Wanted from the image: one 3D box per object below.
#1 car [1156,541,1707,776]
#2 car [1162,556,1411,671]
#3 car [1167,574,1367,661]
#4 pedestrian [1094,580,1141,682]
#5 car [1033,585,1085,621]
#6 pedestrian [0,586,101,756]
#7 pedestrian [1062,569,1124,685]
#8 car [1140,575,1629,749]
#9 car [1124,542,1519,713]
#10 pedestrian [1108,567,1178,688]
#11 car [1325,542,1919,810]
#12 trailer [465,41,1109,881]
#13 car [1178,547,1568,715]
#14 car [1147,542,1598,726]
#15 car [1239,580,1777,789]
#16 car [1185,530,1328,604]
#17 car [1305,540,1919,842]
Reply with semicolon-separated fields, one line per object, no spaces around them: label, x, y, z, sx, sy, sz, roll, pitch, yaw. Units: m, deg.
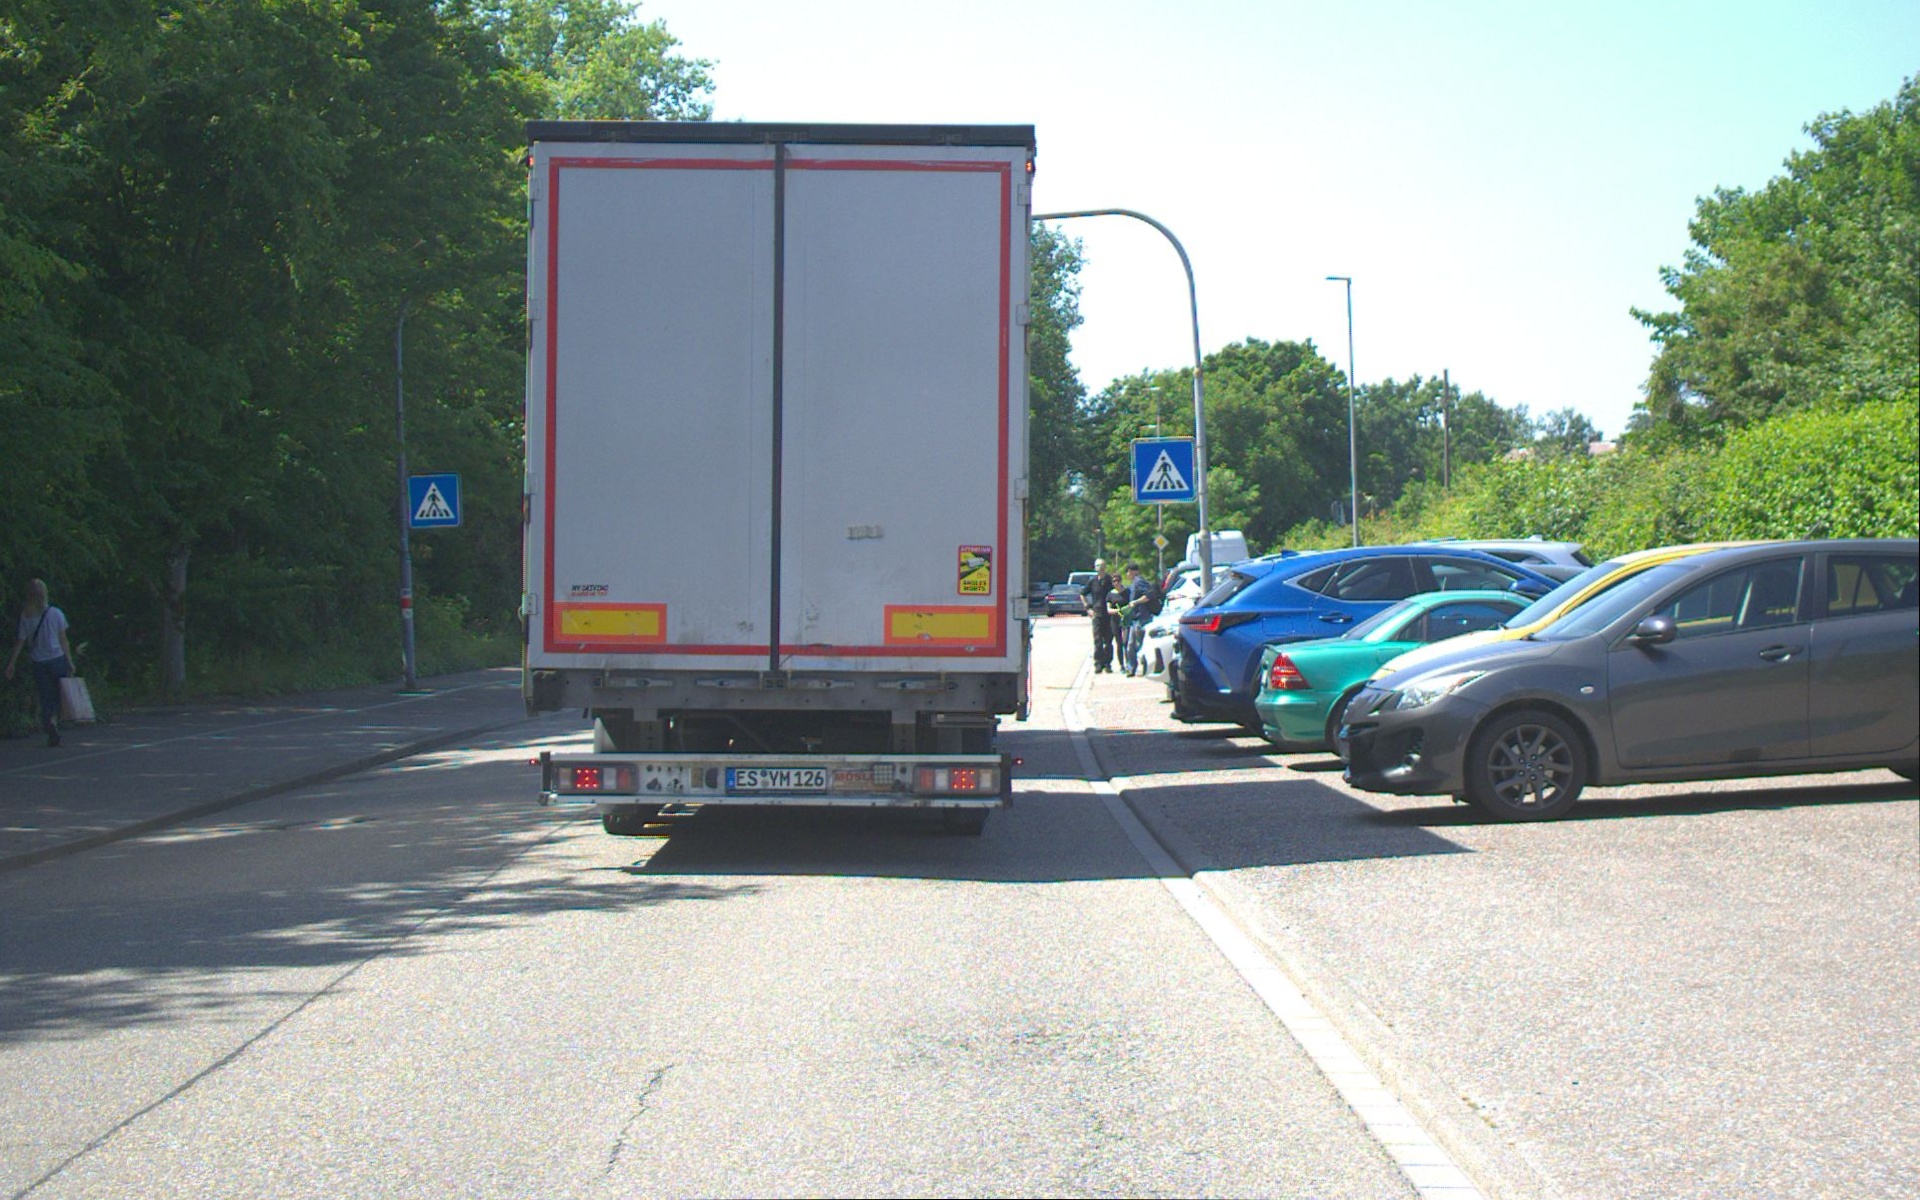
car;3.860;0.463;28.658;4.238;1.628;1.823;-4;0;-1
car;5.707;0.220;60.345;3.955;1.662;1.814;-4;3;-6
car;6.491;0.359;72.998;3.956;1.613;1.814;-3;0;-2
pedestrian;2.547;0.496;55.662;0.589;1.609;0.744;-5;0;6
car;4.304;0.134;149.273;1.781;1.481;3.999;-1;1;8
pedestrian;-8.857;0.680;33.419;0.828;1.617;0.783;0;1;-2
pedestrian;2.188;0.437;56.362;0.822;1.828;0.792;-5;0;6
car;3.865;0.547;31.703;4.129;1.434;1.815;-2;0;-6
car;4.292;0.321;41.341;4.404;1.692;1.877;-4;0;-2
pedestrian;2.849;0.424;53.495;0.907;1.792;0.935;-5;0;6
car;4.472;0.479;22.814;3.801;1.450;1.774;-4;0;-1
trailer;-0.877;-0.710;22.673;3.112;4.088;11.537;-1;0;0
car;4.607;0.333;38.795;4.125;1.651;1.887;-3;0;1
car;4.108;0.352;34.713;4.235;1.648;1.900;-2;-1;-1
car;4.062;0.618;25.898;3.735;1.264;1.628;-4;0;1
car;8.560;-0.936;99.525;3.957;1.792;1.813;-4;-2;4
car;4.199;0.469;19.708;4.163;1.490;1.883;-3;0;-1
